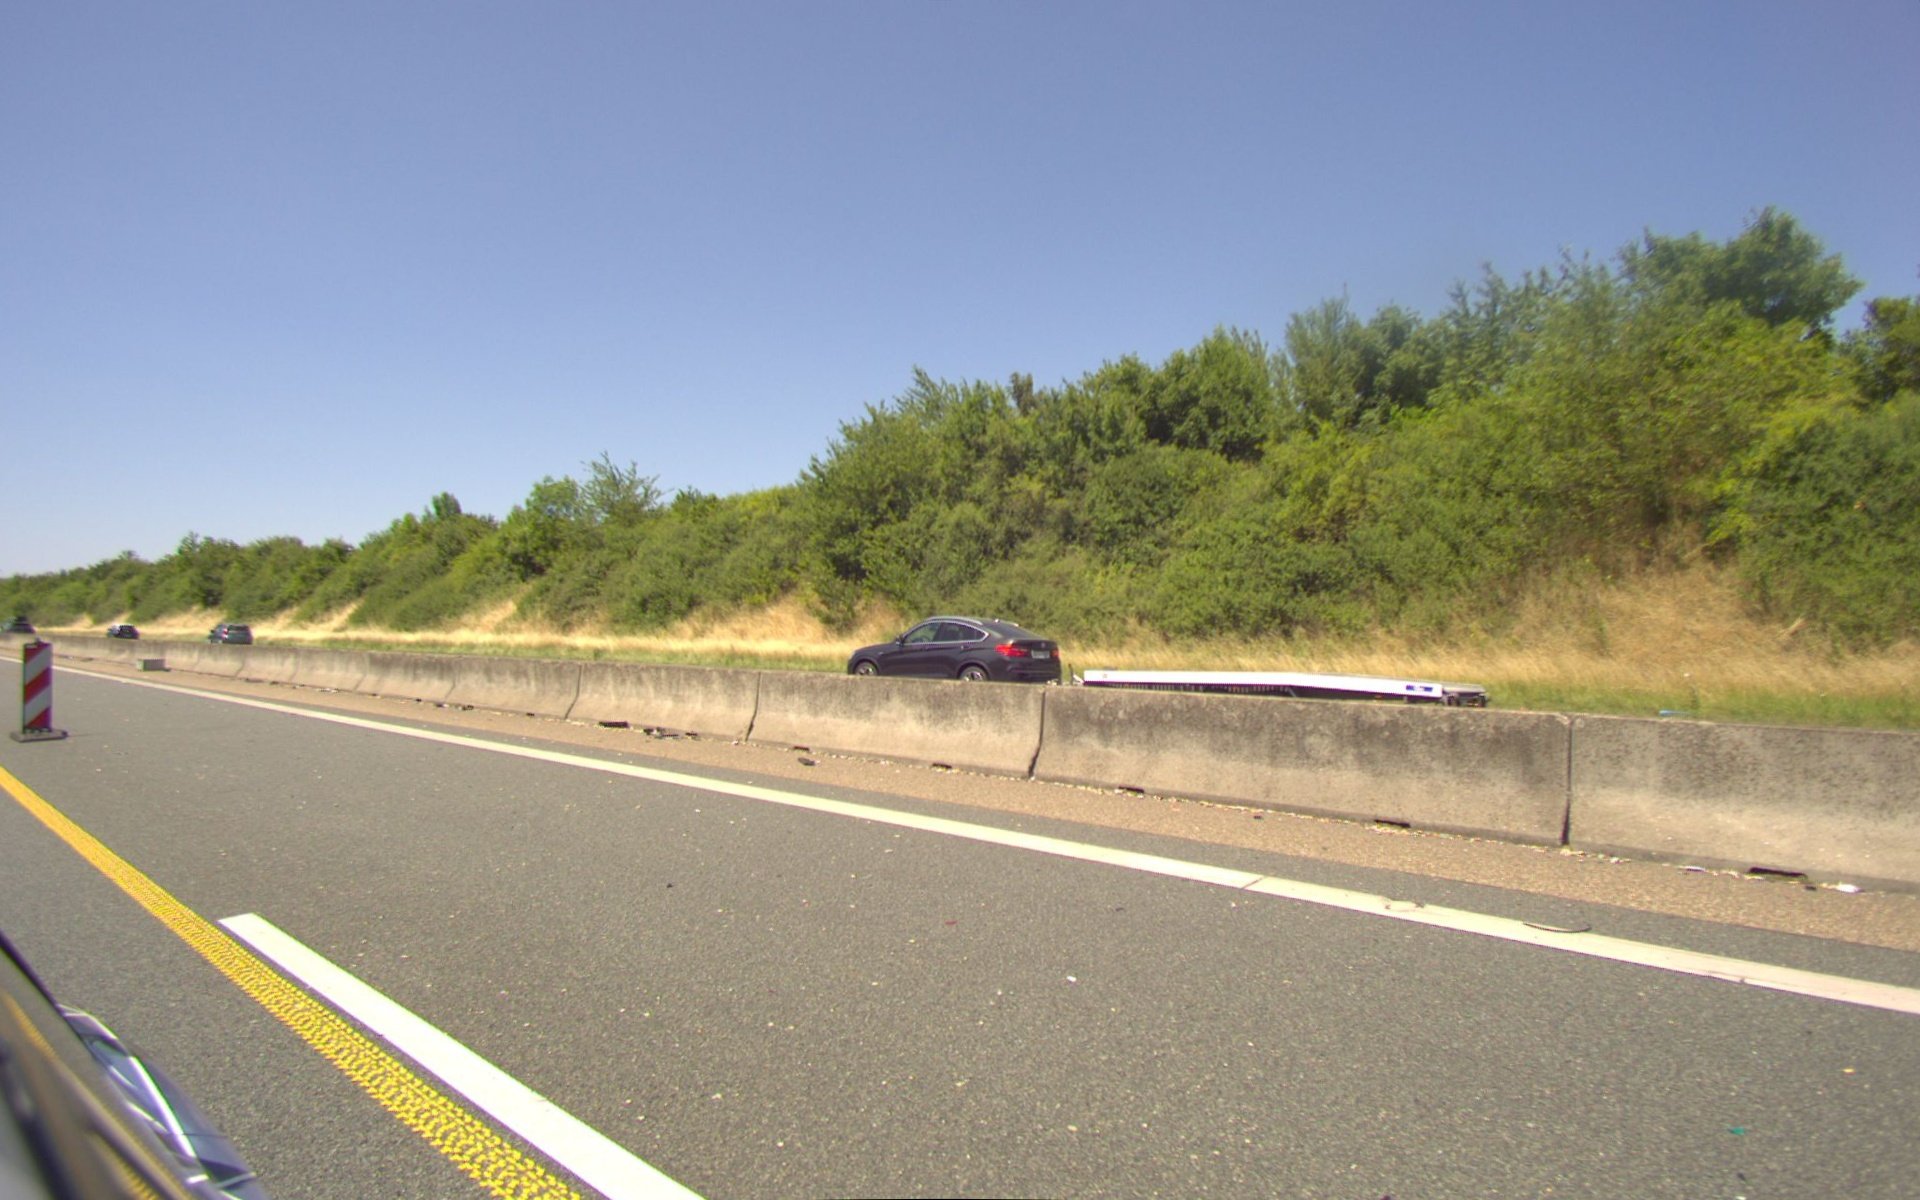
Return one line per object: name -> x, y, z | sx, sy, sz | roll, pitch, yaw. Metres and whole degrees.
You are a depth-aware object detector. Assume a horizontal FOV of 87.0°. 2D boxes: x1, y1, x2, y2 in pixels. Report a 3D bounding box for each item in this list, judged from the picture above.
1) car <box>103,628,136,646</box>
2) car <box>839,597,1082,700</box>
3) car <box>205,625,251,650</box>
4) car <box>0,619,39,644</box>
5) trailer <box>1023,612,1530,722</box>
car -> -70.540, 3.076, 84.890 | 3.777, 1.475, 1.557 | -1, -2, 41
car -> -0.082, 0.867, 19.688 | 4.562, 1.767, 1.894 | -1, 0, 40
car -> -46.256, 2.338, 63.928 | 3.997, 1.560, 1.484 | -1, -2, 40
car -> -72.349, 2.415, 77.799 | 4.619, 1.832, 1.723 | -1, -2, 41
trailer -> 4.542, 0.904, 15.717 | 7.212, 1.354, 2.332 | -1, -2, 41
